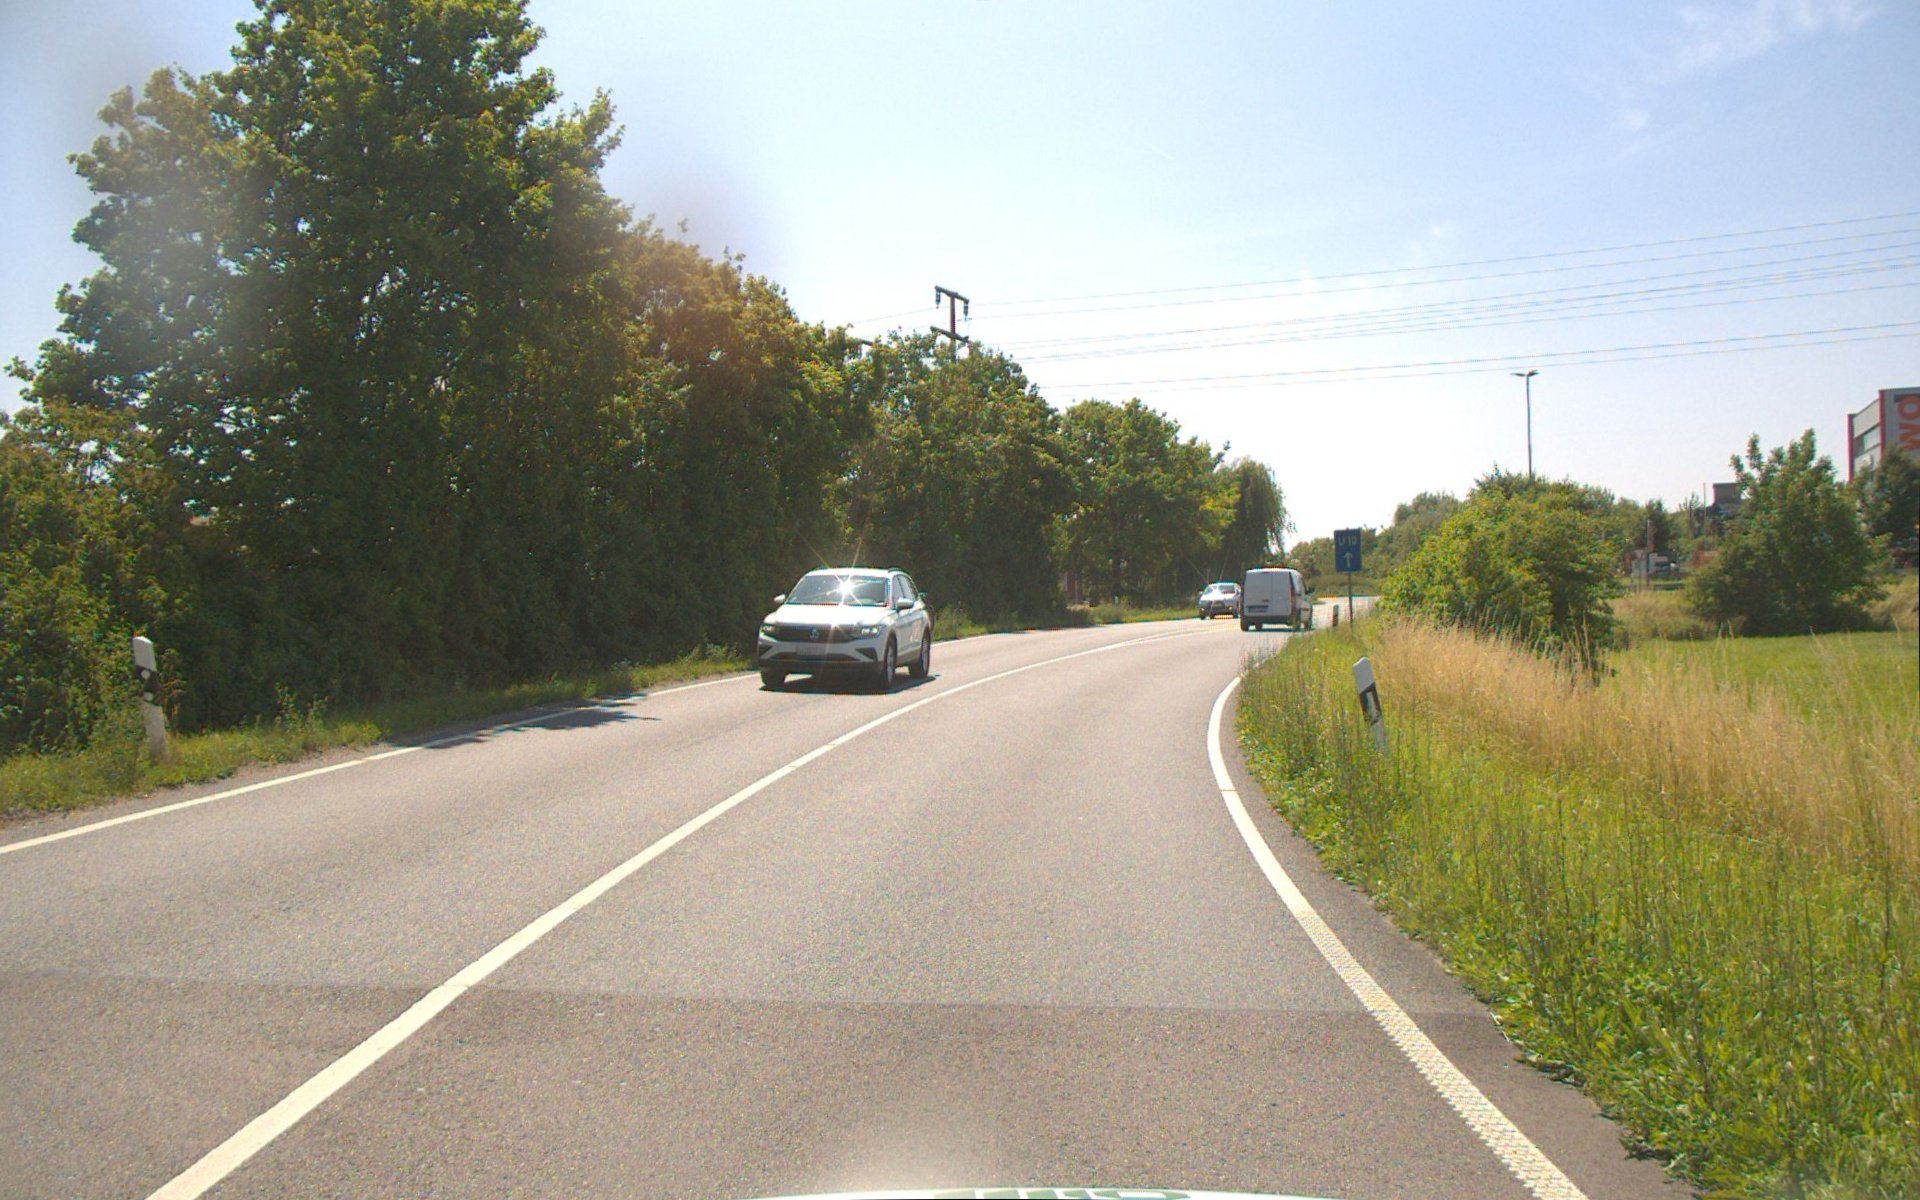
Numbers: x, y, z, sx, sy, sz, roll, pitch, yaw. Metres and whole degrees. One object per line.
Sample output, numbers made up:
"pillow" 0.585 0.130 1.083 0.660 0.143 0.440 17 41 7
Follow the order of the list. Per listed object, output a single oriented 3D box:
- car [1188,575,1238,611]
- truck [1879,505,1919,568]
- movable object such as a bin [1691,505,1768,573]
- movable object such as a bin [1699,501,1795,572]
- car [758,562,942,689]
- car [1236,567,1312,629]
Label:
"car" 11.734 -0.339 76.588 1.704 1.617 4.002 1 1 18
"truck" 54.477 -3.349 88.641 8.590 3.192 3.109 0 -1 4
"movable object such as a bin" 63.775 -4.993 137.177 5.599 5.362 3.221 0 -1 22
"movable object such as a bin" 61.103 -4.874 128.615 6.456 5.238 3.806 0 -1 22
"car" -1.482 0.308 24.236 1.815 1.629 4.781 1 1 7
"car" 9.417 -0.054 49.412 1.863 1.763 3.825 -1 0 16
